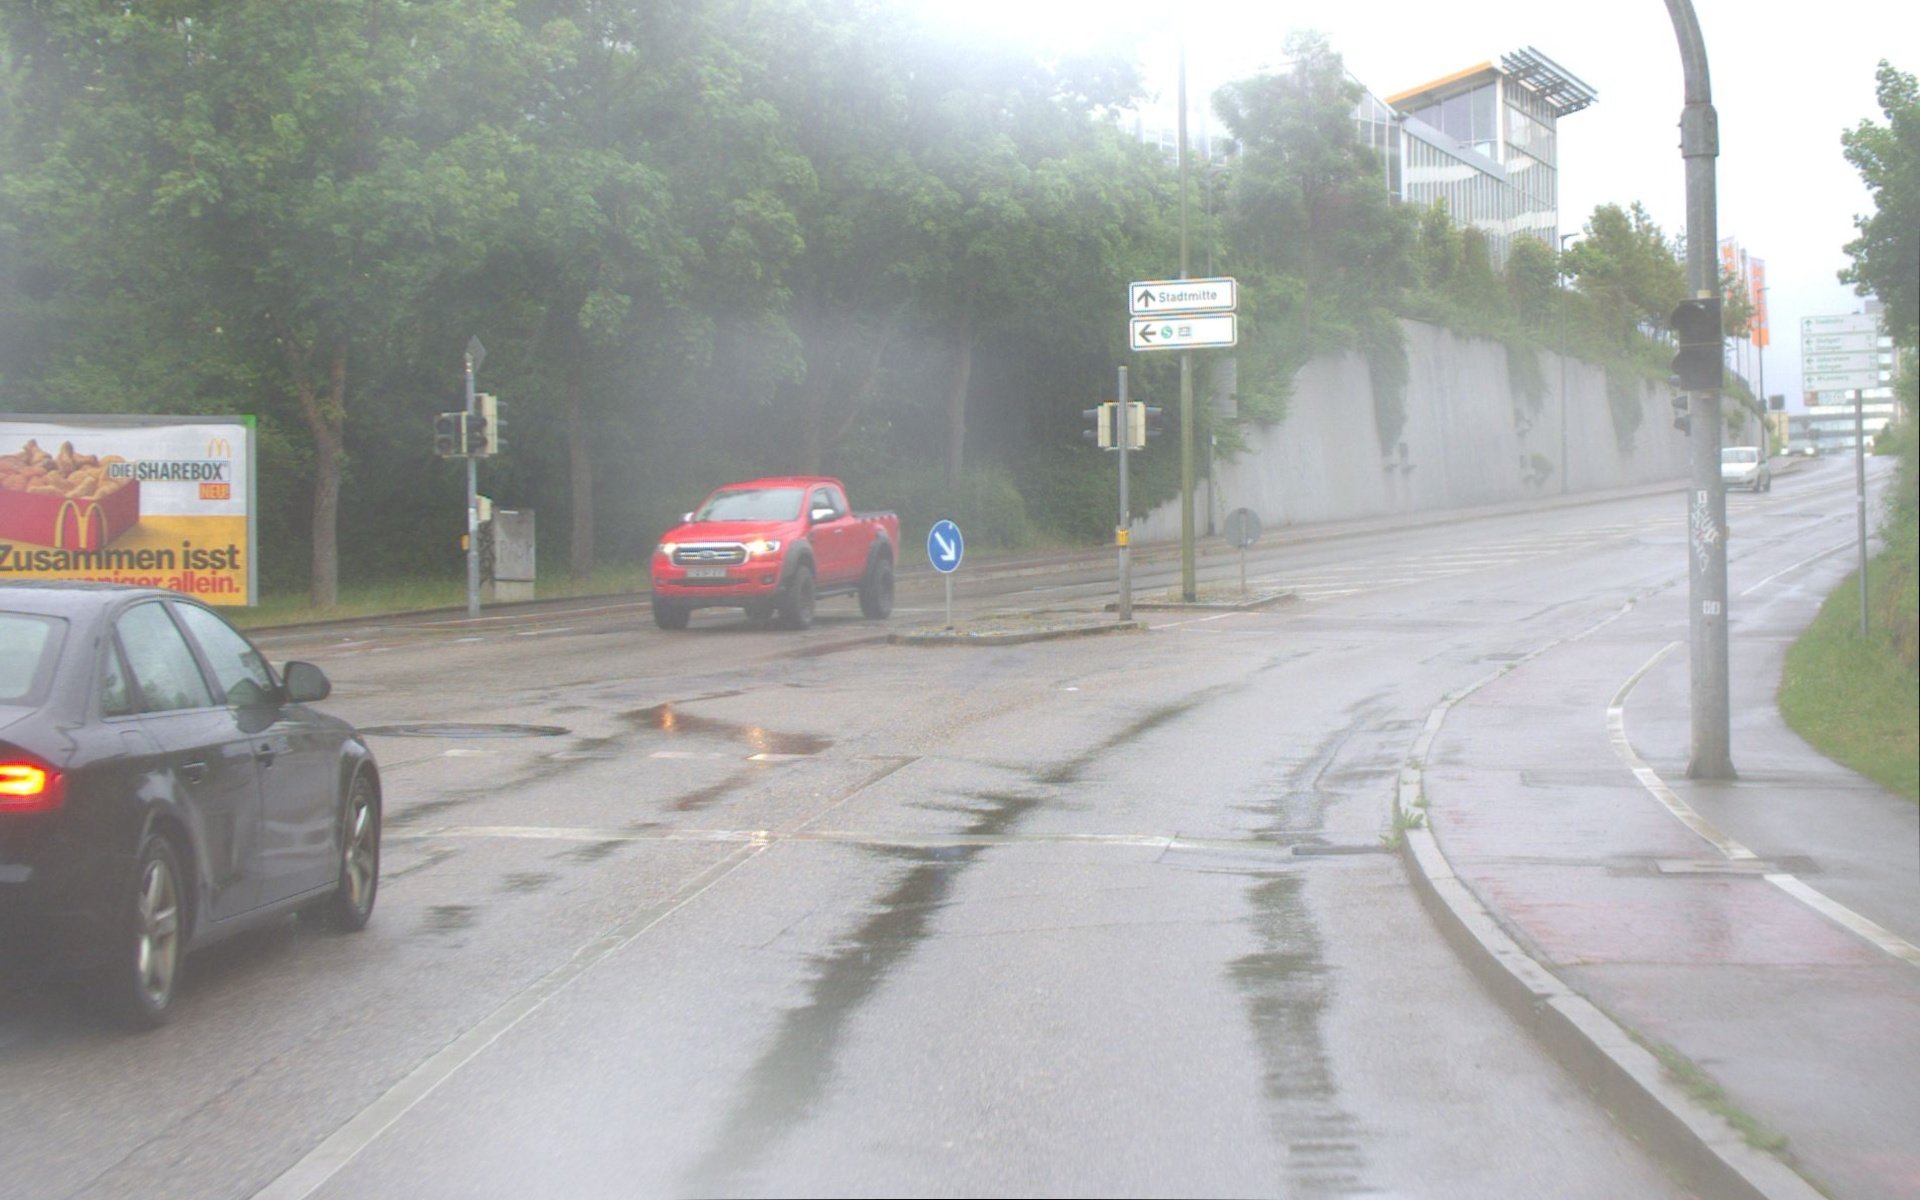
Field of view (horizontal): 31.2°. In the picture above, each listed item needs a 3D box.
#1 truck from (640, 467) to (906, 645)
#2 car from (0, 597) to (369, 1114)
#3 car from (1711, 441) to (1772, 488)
[{"bbox_3d":[-2.367,-0.649,45.144,1.995,2.006,5.336,1,4,14],"label":"truck"},{"bbox_3d":[-3.307,0.703,11.547,1.755,1.391,4.000,0,0,3],"label":"car"},{"bbox_3d":[25.801,-4.469,113.577,1.513,1.443,3.816,0,1,6],"label":"car"}]
